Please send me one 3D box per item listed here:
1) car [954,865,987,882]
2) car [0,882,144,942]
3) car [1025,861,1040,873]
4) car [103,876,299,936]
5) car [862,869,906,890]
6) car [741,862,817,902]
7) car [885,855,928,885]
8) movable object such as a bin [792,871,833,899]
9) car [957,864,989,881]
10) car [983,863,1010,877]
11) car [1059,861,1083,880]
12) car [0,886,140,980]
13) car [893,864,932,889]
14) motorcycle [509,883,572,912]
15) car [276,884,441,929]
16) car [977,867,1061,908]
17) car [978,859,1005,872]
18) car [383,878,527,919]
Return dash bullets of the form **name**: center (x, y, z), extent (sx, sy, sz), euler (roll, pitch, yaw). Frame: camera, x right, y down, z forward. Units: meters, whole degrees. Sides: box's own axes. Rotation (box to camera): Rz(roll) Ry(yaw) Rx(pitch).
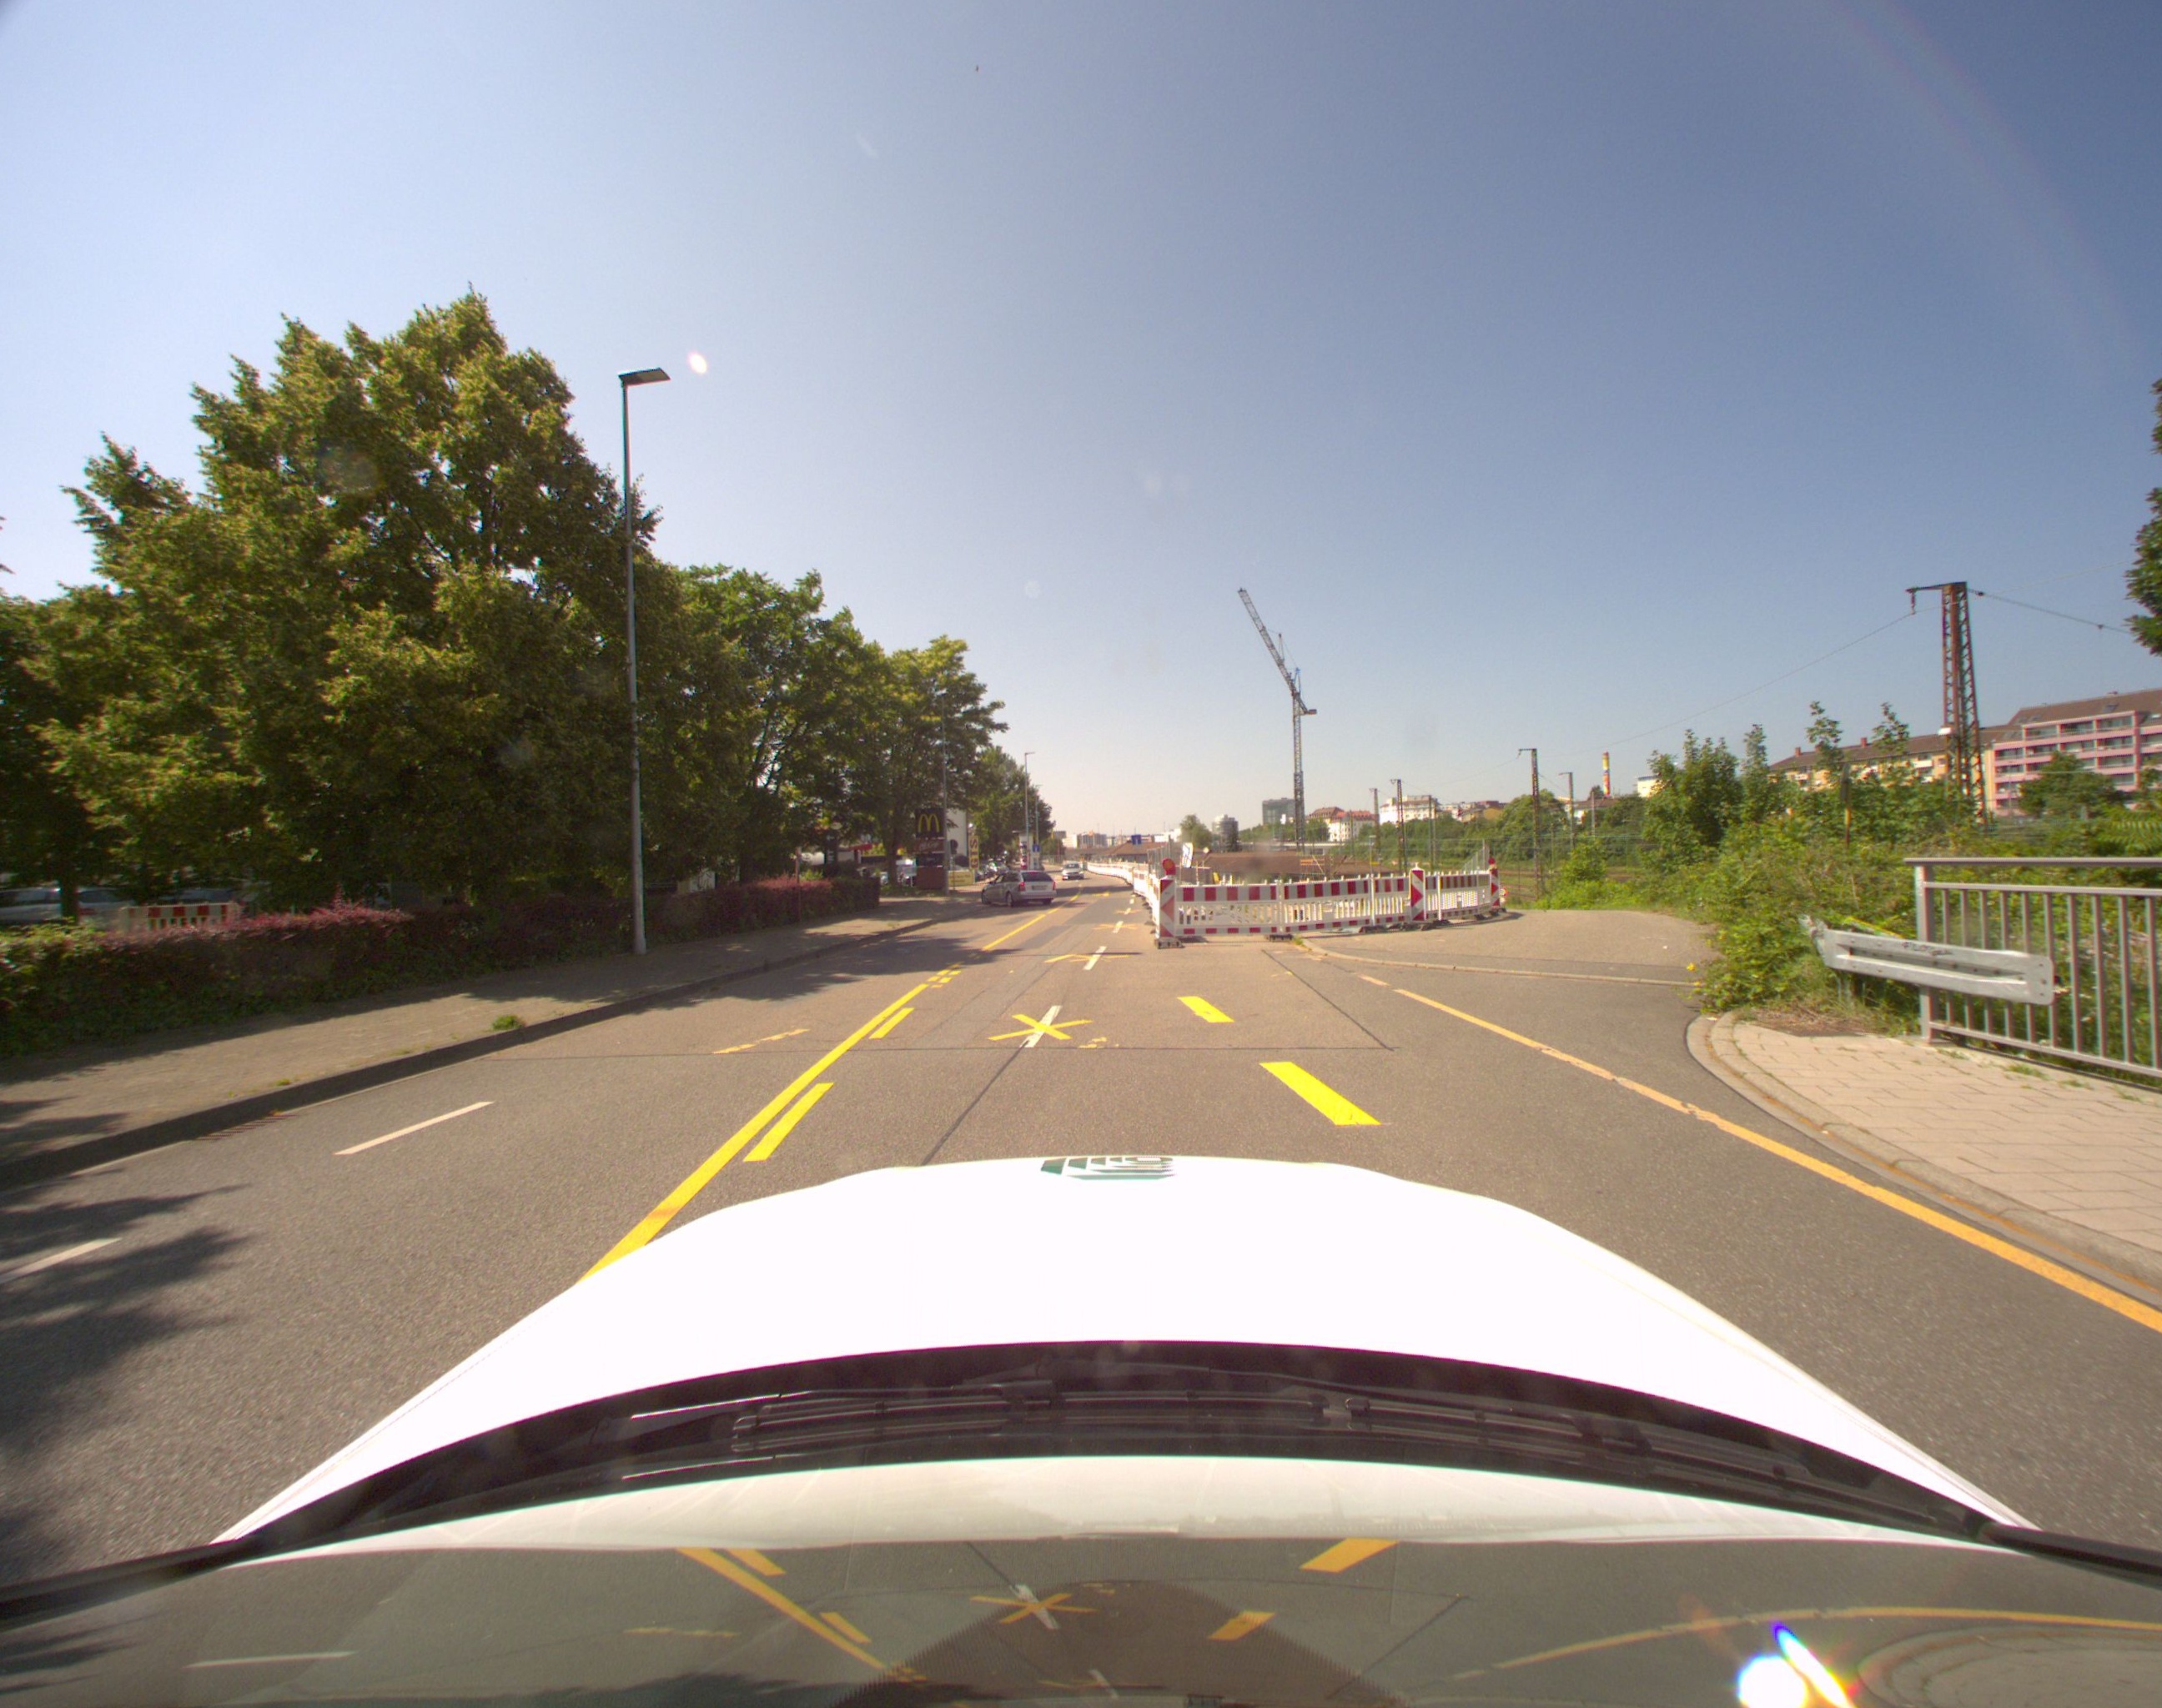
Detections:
- **car**: center (-10.451, 1.851, 76.855), extent (1.846, 1.473, 3.966), euler (-5, 0, -26)
- **car**: center (-29.797, 1.646, 23.219), extent (3.836, 1.588, 1.638), euler (-1, -1, -9)
- **car**: center (-6.845, 1.763, 115.122), extent (1.863, 1.498, 4.032), euler (-3, 1, 0)
- **car**: center (-28.148, 1.640, 26.169), extent (4.008, 1.732, 1.797), euler (-1, -1, -8)
- **car**: center (-17.365, 2.217, 72.025), extent (1.896, 1.575, 4.701), euler (-2, 0, 11)
- **car**: center (-17.952, 1.690, 48.294), extent (4.465, 1.920, 1.905), euler (-6, 0, 36)
- **car**: center (-17.097, 1.577, 80.058), extent (2.266, 2.758, 6.160), euler (-3, -1, 5)
- **movable object such as a bin**: center (-16.522, 1.888, 50.101), extent (1.754, 1.526, 1.463), euler (-4, 1, 23)
- **car**: center (-10.941, 1.882, 82.365), extent (1.790, 1.473, 3.963), euler (-5, 0, -28)
- **car**: center (-10.326, 1.964, 99.185), extent (1.788, 1.473, 3.960), euler (-5, 0, -30)
- **car**: center (-0.872, 1.435, 70.230), extent (1.674, 1.493, 4.598), euler (-3, -1, -5)
- **car**: center (-19.812, 1.422, 13.599), extent (2.057, 1.560, 5.039), euler (-2, -1, 6)
- **car**: center (-13.430, 1.800, 64.696), extent (2.053, 1.707, 4.278), euler (-3, -2, -25)
- **motorcycle**: center (-23.242, 1.867, 35.041), extent (2.186, 1.132, 0.565), euler (-1, -1, -24)
- **car**: center (-25.103, 1.794, 28.405), extent (4.055, 1.395, 1.623), euler (-1, -1, -8)
- **car**: center (-2.551, 1.302, 32.352), extent (1.718, 1.403, 4.347), euler (-4, 0, -27)
- **car**: center (-13.961, 1.755, 126.908), extent (3.923, 1.959, 1.753), euler (-1, -1, -10)
- **car**: center (-24.252, 1.702, 31.692), extent (4.079, 1.387, 1.765), euler (-1, -1, -8)
